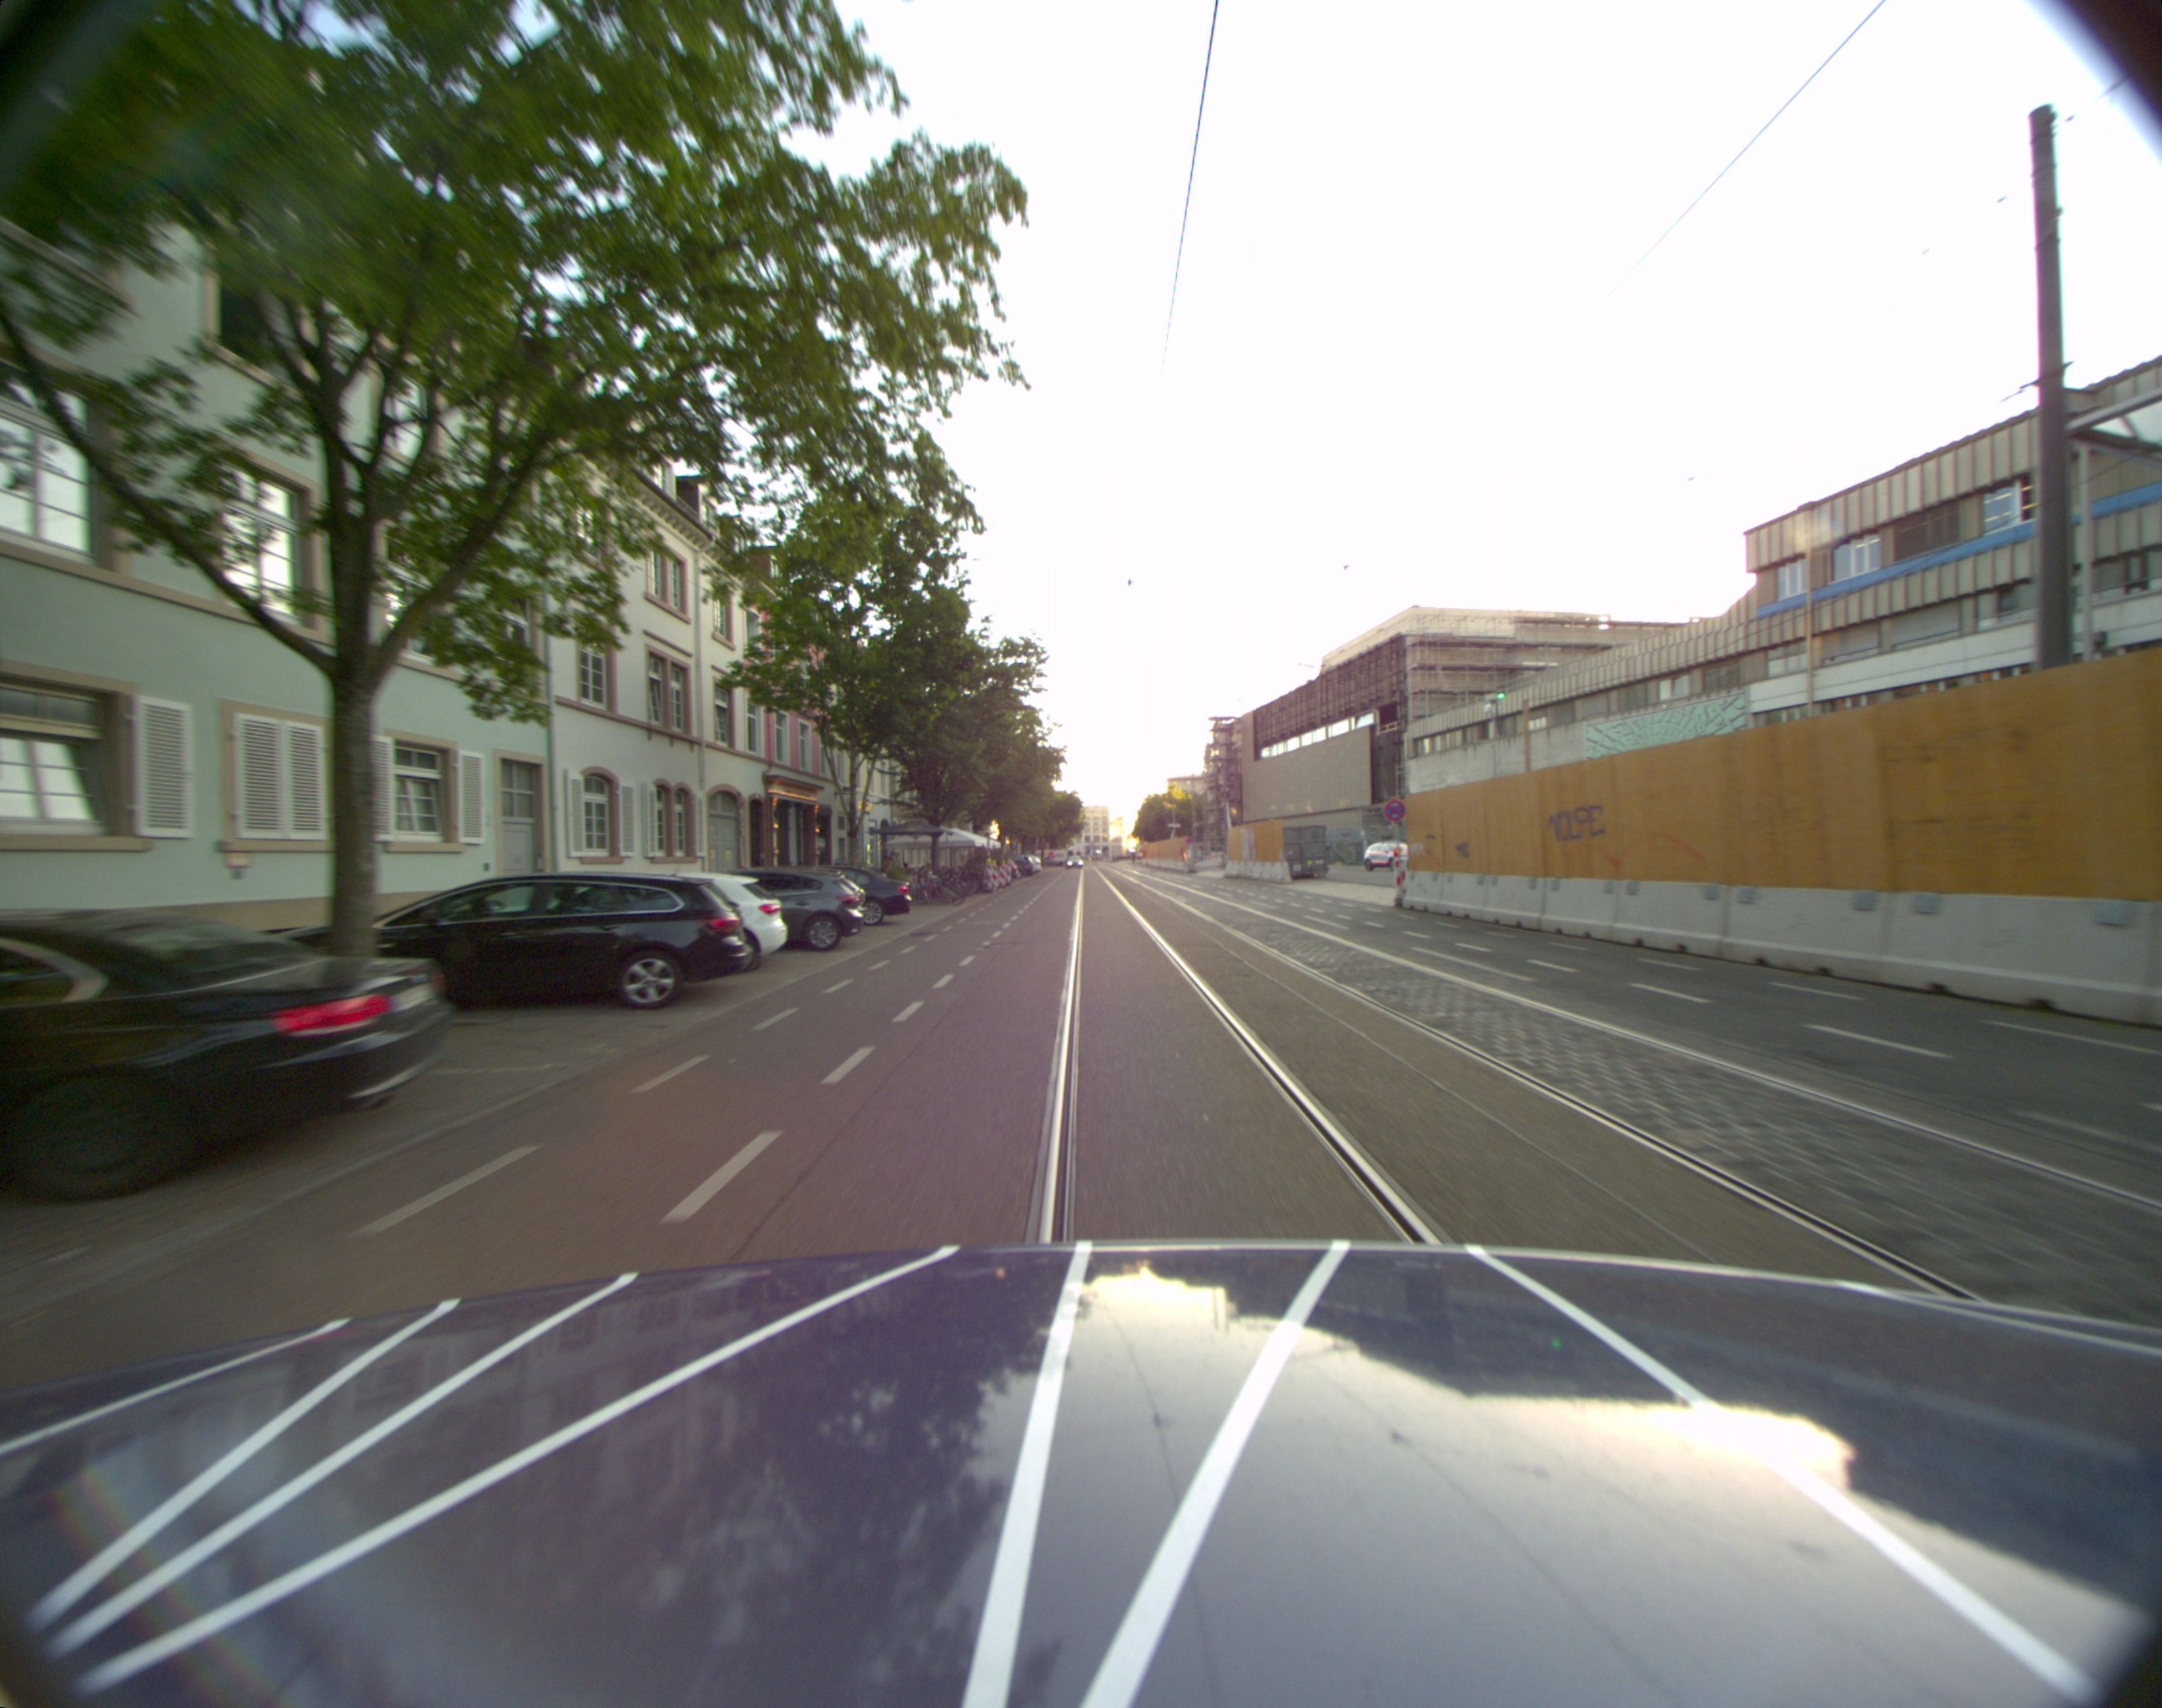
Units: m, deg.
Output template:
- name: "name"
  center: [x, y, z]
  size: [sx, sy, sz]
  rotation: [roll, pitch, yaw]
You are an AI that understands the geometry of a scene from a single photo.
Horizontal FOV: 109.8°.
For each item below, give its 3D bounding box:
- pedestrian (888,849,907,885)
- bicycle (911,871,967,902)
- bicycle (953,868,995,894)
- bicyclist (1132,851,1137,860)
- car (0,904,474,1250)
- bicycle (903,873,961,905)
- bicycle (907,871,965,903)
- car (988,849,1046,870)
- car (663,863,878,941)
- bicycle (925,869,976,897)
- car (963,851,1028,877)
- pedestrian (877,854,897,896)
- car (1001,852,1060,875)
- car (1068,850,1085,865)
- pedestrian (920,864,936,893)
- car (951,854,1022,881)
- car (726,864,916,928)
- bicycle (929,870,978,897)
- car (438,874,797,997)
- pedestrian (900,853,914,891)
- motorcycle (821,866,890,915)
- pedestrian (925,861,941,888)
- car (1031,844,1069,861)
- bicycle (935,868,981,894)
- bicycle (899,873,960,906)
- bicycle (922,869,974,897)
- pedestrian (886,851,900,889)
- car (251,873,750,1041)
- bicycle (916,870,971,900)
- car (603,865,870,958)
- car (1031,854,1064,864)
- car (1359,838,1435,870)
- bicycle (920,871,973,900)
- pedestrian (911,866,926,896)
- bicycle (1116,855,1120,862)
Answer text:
- name: "pedestrian"
  center: [-9.112, 0.659, 37.774]
  size: [0.705, 1.753, 0.713]
  rotation: [-2, 1, -27]
- name: "bicycle"
  center: [-5.135, 1.180, 27.515]
  size: [1.891, 1.025, 0.608]
  rotation: [2, 0, -1]
- name: "bicycle"
  center: [-4.570, 1.157, 32.524]
  size: [1.683, 1.025, 0.557]
  rotation: [2, 0, -1]
- name: "bicyclist"
  center: [9.872, 0.209, 139.532]
  size: [0.770, 1.656, 1.018]
  rotation: [-1, 0, 0]
- name: "car"
  center: [-6.137, 1.077, 3.938]
  size: [4.269, 1.384, 2.011]
  rotation: [0, 1, -23]
- name: "bicycle"
  center: [-5.108, 1.205, 26.153]
  size: [1.868, 1.025, 0.591]
  rotation: [2, 0, -2]
- name: "bicycle"
  center: [-5.116, 1.150, 26.812]
  size: [1.891, 1.061, 0.674]
  rotation: [2, 0, -1]
- name: "car"
  center: [-5.291, 0.469, 63.585]
  size: [4.661, 1.678, 2.008]
  rotation: [1, 0, -1]
- name: "car"
  center: [-6.402, 0.986, 16.141]
  size: [3.964, 1.462, 1.998]
  rotation: [2, 0, -16]
- name: "bicycle"
  center: [-5.200, 1.160, 30.318]
  size: [1.891, 1.025, 0.608]
  rotation: [2, 0, -1]
- name: "car"
  center: [-6.149, 0.688, 54.764]
  size: [4.167, 1.796, 2.003]
  rotation: [0, 0, -28]
- name: "pedestrian"
  center: [-8.198, 0.887, 32.149]
  size: [0.552, 1.753, 0.894]
  rotation: [-2, 1, 0]
- name: "car"
  center: [-4.069, 0.745, 60.924]
  size: [4.662, 1.678, 2.007]
  rotation: [1, 0, -5]
- name: "car"
  center: [-0.509, 0.457, 93.326]
  size: [1.840, 1.631, 4.169]
  rotation: [-5, 0, 1]
- name: "pedestrian"
  center: [-6.979, 1.113, 34.702]
  size: [0.599, 1.285, 0.504]
  rotation: [-1, 1, 3]
- name: "car"
  center: [-5.813, 0.813, 46.706]
  size: [3.979, 1.544, 1.702]
  rotation: [0, 0, -25]
- name: "car"
  center: [-6.278, 1.017, 18.645]
  size: [4.179, 1.418, 1.820]
  rotation: [2, 0, -18]
- name: "bicycle"
  center: [-5.197, 1.218, 30.997]
  size: [1.891, 1.025, 0.608]
  rotation: [2, 0, -1]
- name: "car"
  center: [-6.439, 1.077, 11.131]
  size: [4.135, 1.462, 1.983]
  rotation: [2, 0, -24]
- name: "pedestrian"
  center: [-8.187, 0.850, 35.833]
  size: [0.553, 1.753, 0.714]
  rotation: [-2, 1, -17]
- name: "motorcycle"
  center: [-6.371, 1.022, 21.476]
  size: [1.790, 1.336, 0.533]
  rotation: [1, 1, -1]
- name: "pedestrian"
  center: [-7.291, 0.994, 37.345]
  size: [0.553, 1.298, 0.713]
  rotation: [-2, 1, -27]
- name: "car"
  center: [-4.916, -0.284, 121.623]
  size: [5.650, 2.678, 2.166]
  rotation: [-1, 0, -34]
- name: "bicycle"
  center: [-5.144, 1.120, 31.798]
  size: [1.820, 1.025, 0.608]
  rotation: [2, 0, -1]
- name: "bicycle"
  center: [-5.082, 1.201, 25.532]
  size: [1.908, 1.025, 0.533]
  rotation: [2, 0, -1]
- name: "bicycle"
  center: [-5.166, 1.136, 29.600]
  size: [1.891, 1.025, 0.608]
  rotation: [2, 0, -1]
- name: "pedestrian"
  center: [-8.783, 0.736, 35.523]
  size: [0.553, 1.753, 0.851]
  rotation: [-2, 1, -17]
- name: "car"
  center: [-6.045, 1.013, 8.664]
  size: [4.135, 1.462, 2.011]
  rotation: [2, 0, -24]
- name: "bicycle"
  center: [-5.086, 1.149, 28.185]
  size: [1.891, 1.025, 0.608]
  rotation: [2, 0, -1]
- name: "car"
  center: [-6.035, 0.998, 13.792]
  size: [4.133, 1.462, 1.820]
  rotation: [2, 0, -19]
- name: "car"
  center: [-5.150, 0.752, 115.470]
  size: [4.614, 1.504, 1.859]
  rotation: [1, -1, -23]
- name: "car"
  center: [17.618, 0.010, 42.590]
  size: [2.000, 1.654, 4.277]
  rotation: [-2, 0, -7]
- name: "bicycle"
  center: [-5.117, 1.178, 28.932]
  size: [1.891, 1.025, 0.608]
  rotation: [2, 0, -1]
- name: "pedestrian"
  center: [-7.132, 1.162, 33.364]
  size: [0.503, 1.285, 0.600]
  rotation: [-2, 1, -2]
- name: "bicycle"
  center: [6.794, 0.776, 139.544]
  size: [0.770, 1.221, 1.936]
  rotation: [-1, 0, 0]
